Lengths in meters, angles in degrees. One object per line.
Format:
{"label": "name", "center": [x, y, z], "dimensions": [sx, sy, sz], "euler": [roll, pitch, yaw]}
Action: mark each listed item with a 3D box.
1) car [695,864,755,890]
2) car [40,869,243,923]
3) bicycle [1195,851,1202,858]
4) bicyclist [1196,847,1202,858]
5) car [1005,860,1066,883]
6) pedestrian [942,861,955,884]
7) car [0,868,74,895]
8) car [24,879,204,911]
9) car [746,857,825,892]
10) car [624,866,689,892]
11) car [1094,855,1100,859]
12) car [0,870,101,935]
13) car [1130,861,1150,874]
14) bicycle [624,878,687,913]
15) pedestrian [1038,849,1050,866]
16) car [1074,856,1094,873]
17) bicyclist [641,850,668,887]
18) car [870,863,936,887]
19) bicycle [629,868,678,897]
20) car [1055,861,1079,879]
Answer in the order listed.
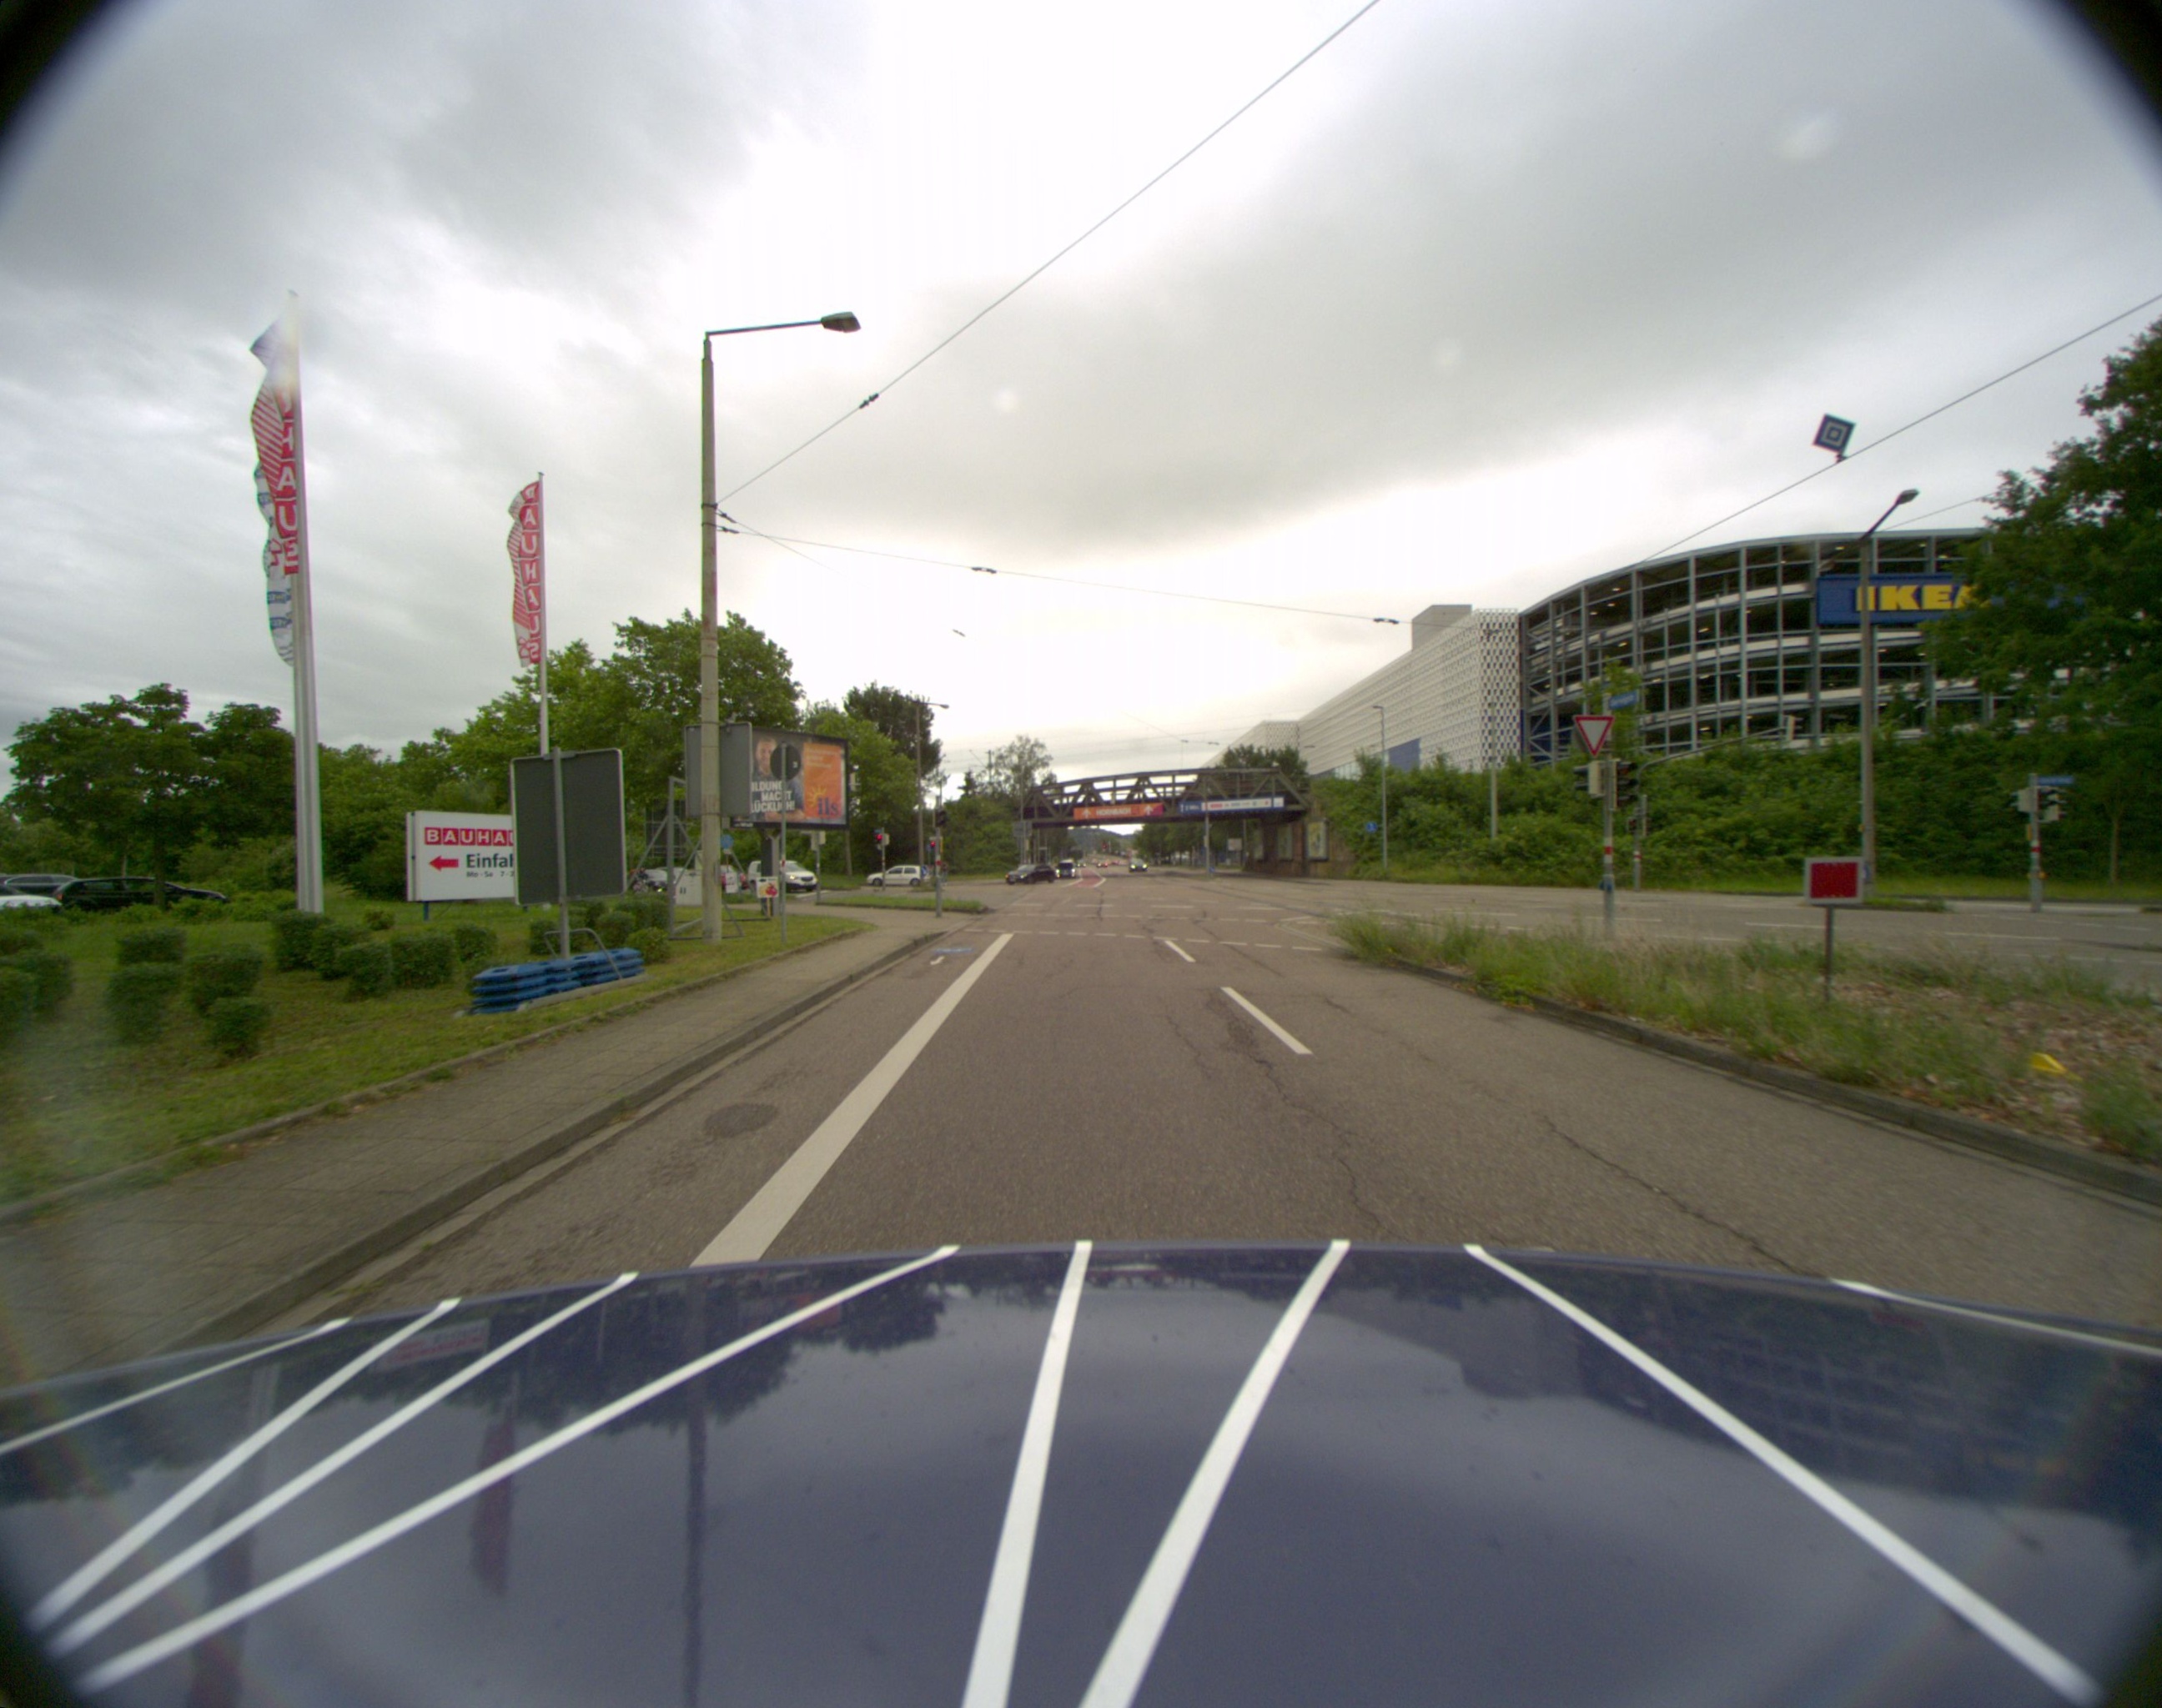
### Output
{"label": "car", "center": [-21.910, 1.398, 46.746], "dimensions": [3.678, 1.523, 1.700], "euler": [-1, 0, 34]}
{"label": "car", "center": [-32.231, 1.390, 26.200], "dimensions": [1.821, 1.488, 4.243], "euler": [-2, 1, 35]}
{"label": "bicycle", "center": [19.652, 0.120, 126.676], "dimensions": [0.715, 1.180, 2.370], "euler": [-3, 1, 0]}
{"label": "bicyclist", "center": [19.639, -0.223, 126.679], "dimensions": [0.703, 1.863, 1.020], "euler": [-3, 1, 0]}
{"label": "car", "center": [-3.161, 1.193, 53.254], "dimensions": [4.008, 1.415, 1.833], "euler": [-2, 0, -42]}
{"label": "pedestrian", "center": [-9.504, 1.300, 54.573], "dimensions": [0.745, 1.630, 0.777], "euler": [-1, 0, -23]}
{"label": "car", "center": [-79.456, 2.054, 56.284], "dimensions": [2.149, 1.882, 5.738], "euler": [0, 0, 40]}
{"label": "car", "center": [-51.776, 2.144, 40.866], "dimensions": [2.149, 1.432, 5.737], "euler": [0, 0, 30]}
{"label": "car", "center": [-16.737, 1.134, 42.998], "dimensions": [4.409, 1.818, 1.884], "euler": [-1, 2, 33]}
{"label": "car", "center": [-25.240, 1.473, 45.125], "dimensions": [4.054, 1.473, 1.700], "euler": [-1, 0, 34]}
{"label": "car", "center": [5.365, 1.128, 256.228], "dimensions": [1.681, 1.420, 3.650], "euler": [0, -1, -3]}
{"label": "car", "center": [-27.562, 1.257, 18.639], "dimensions": [4.233, 1.488, 1.930], "euler": [-3, 1, -4]}
{"label": "car", "center": [6.706, 1.510, 86.260], "dimensions": [1.837, 1.415, 4.000], "euler": [-2, 0, 0]}
{"label": "bicycle", "center": [-14.399, 1.385, 25.751], "dimensions": [1.811, 1.111, 0.487], "euler": [-1, 0, -38]}
{"label": "pedestrian", "center": [-3.727, 0.339, 75.869], "dimensions": [0.785, 1.749, 0.876], "euler": [-1, 0, 33]}
{"label": "car", "center": [0.284, 1.230, 87.224], "dimensions": [1.995, 1.838, 4.103], "euler": [-1, 0, -3]}
{"label": "bicyclist", "center": [-17.402, 0.580, 31.022], "dimensions": [0.758, 1.511, 0.583], "euler": [0, 0, 16]}
{"label": "car", "center": [-11.984, 1.387, 51.344], "dimensions": [3.937, 1.415, 1.728], "euler": [-2, 0, 1]}
{"label": "bicycle", "center": [-17.482, 1.149, 31.065], "dimensions": [1.890, 1.142, 0.583], "euler": [-1, 0, 16]}
{"label": "car", "center": [-1.323, 1.437, 70.435], "dimensions": [1.788, 1.637, 3.998], "euler": [-1, 0, -7]}
